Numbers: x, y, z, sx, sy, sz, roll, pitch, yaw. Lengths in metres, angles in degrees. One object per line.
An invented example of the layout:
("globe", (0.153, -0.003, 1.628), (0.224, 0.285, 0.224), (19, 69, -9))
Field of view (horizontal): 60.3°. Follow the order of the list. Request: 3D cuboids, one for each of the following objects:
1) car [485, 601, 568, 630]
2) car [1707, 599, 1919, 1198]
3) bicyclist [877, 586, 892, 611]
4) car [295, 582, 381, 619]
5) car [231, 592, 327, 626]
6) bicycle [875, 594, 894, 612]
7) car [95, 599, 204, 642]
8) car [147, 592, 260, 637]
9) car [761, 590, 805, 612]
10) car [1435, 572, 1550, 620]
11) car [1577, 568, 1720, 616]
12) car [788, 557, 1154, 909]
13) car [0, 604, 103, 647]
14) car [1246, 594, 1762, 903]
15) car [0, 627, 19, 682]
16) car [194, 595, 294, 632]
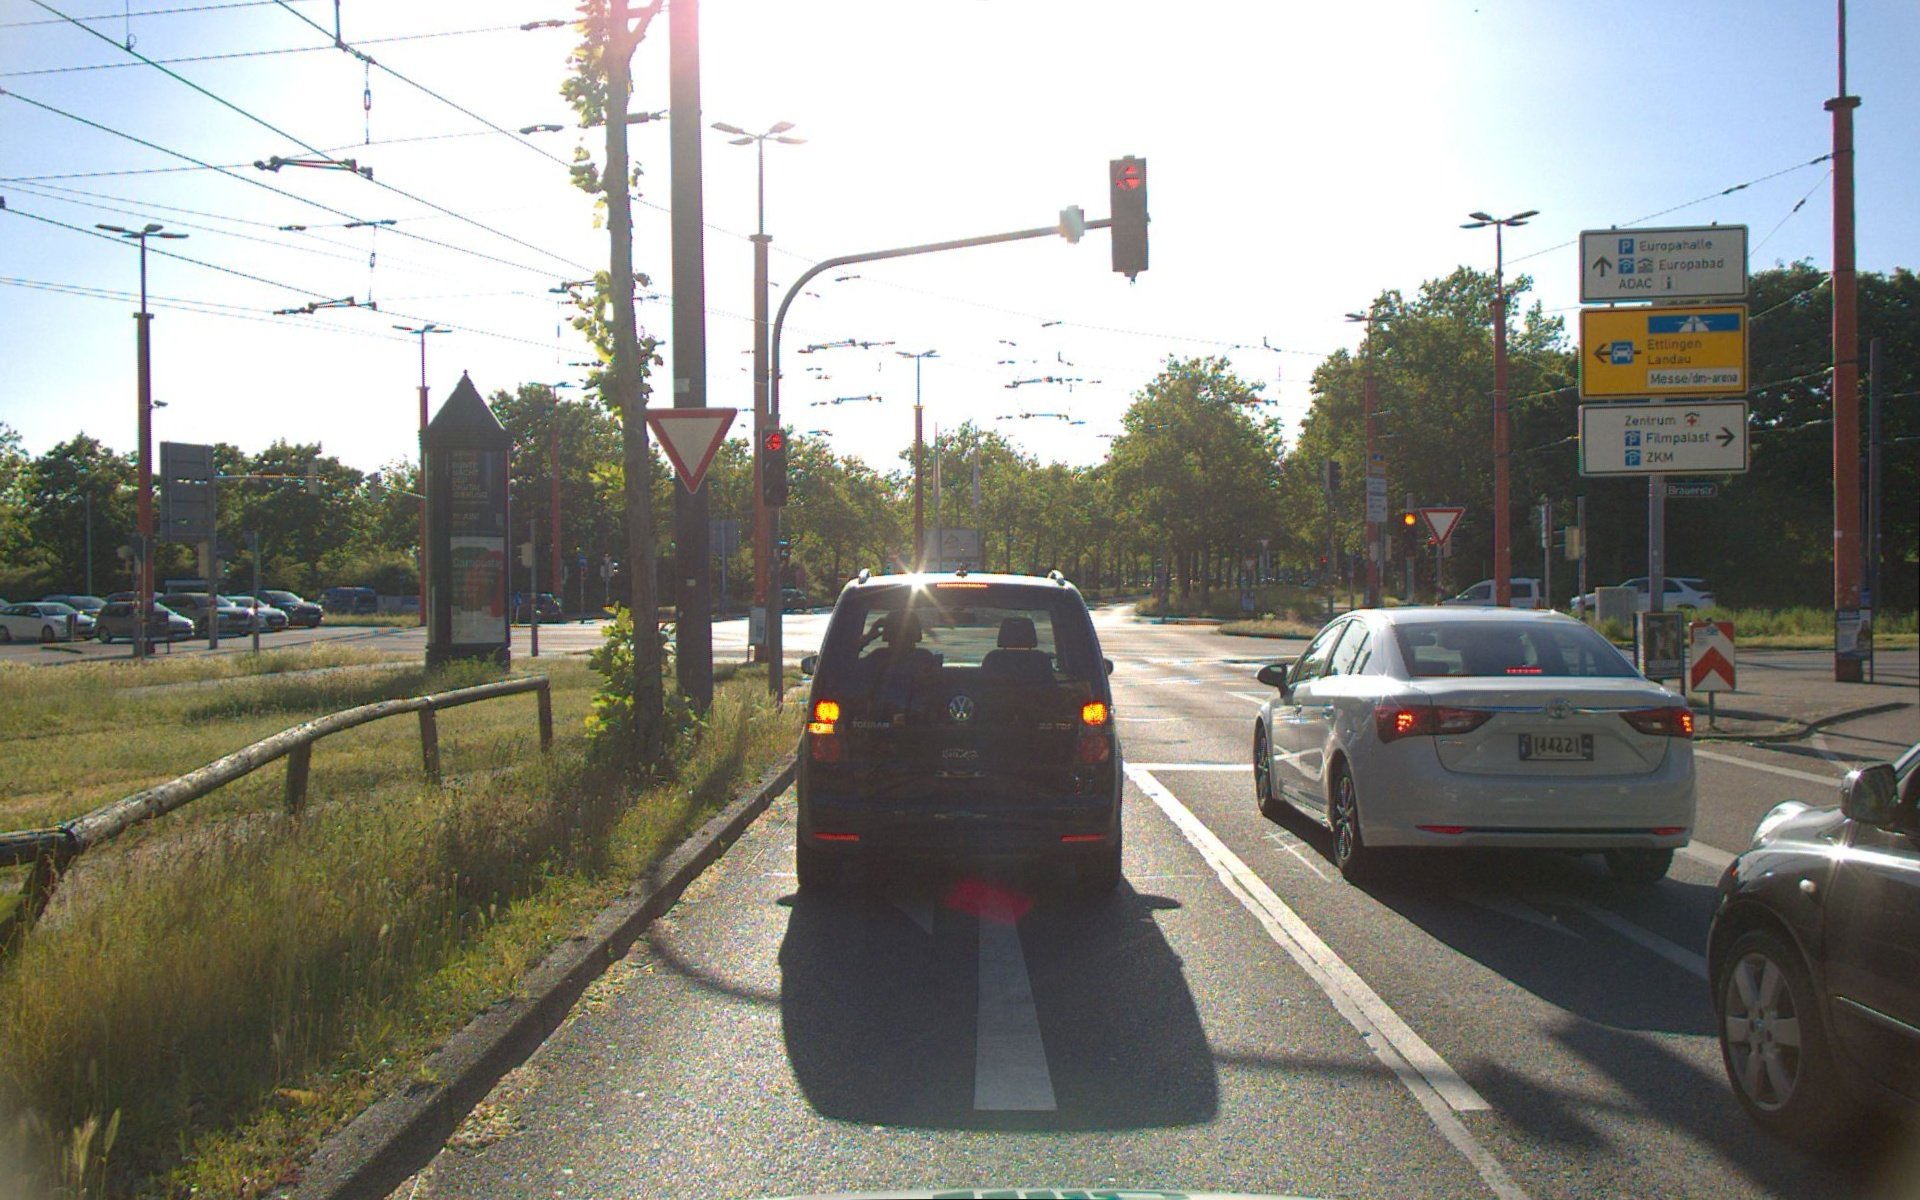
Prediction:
("car", (-22.447, 0.800, 85.630), (4.036, 1.427, 1.656), (0, 0, 25))
("car", (3.135, 0.742, 3.489), (1.544, 1.465, 3.441), (1, 0, 0))
("bicyclist", (-5.900, -0.098, 129.313), (0.955, 1.937, 1.051), (0, 0, 8))
("car", (-32.037, 0.020, 85.136), (4.036, 1.822, 1.798), (0, 0, 24))
("car", (-29.469, 0.369, 71.550), (4.060, 1.440, 1.542), (0, 0, 26))
("bicycle", (-5.907, 0.242, 129.272), (0.955, 1.413, 2.982), (0, 0, 8))
("car", (-29.545, 0.727, 60.301), (3.755, 1.466, 1.655), (0, 0, 27))
("car", (-29.319, 0.537, 64.092), (4.541, 1.676, 1.654), (0, 0, 30))
("car", (-11.978, 0.061, 112.048), (1.616, 1.427, 4.136), (0, 0, 14))
("car", (20.471, -0.164, 63.545), (4.037, 1.780, 1.655), (0, 0, 25))
("car", (24.207, -0.286, 58.212), (4.568, 1.654, 1.655), (0, 0, 26))
("car", (0.066, 0.635, 9.964), (1.703, 1.630, 4.326), (1, 0, 0))
("car", (-34.940, 0.966, 63.254), (4.536, 1.546, 1.654), (0, 0, 30))
("car", (3.013, 0.729, 10.185), (1.762, 1.465, 4.326), (1, 0, 0))
("car", (-31.506, 1.748, 53.675), (1.633, 1.647, 4.252), (0, 0, -29))
("car", (-29.406, 0.528, 67.927), (4.060, 1.440, 1.542), (0, 0, 26))
